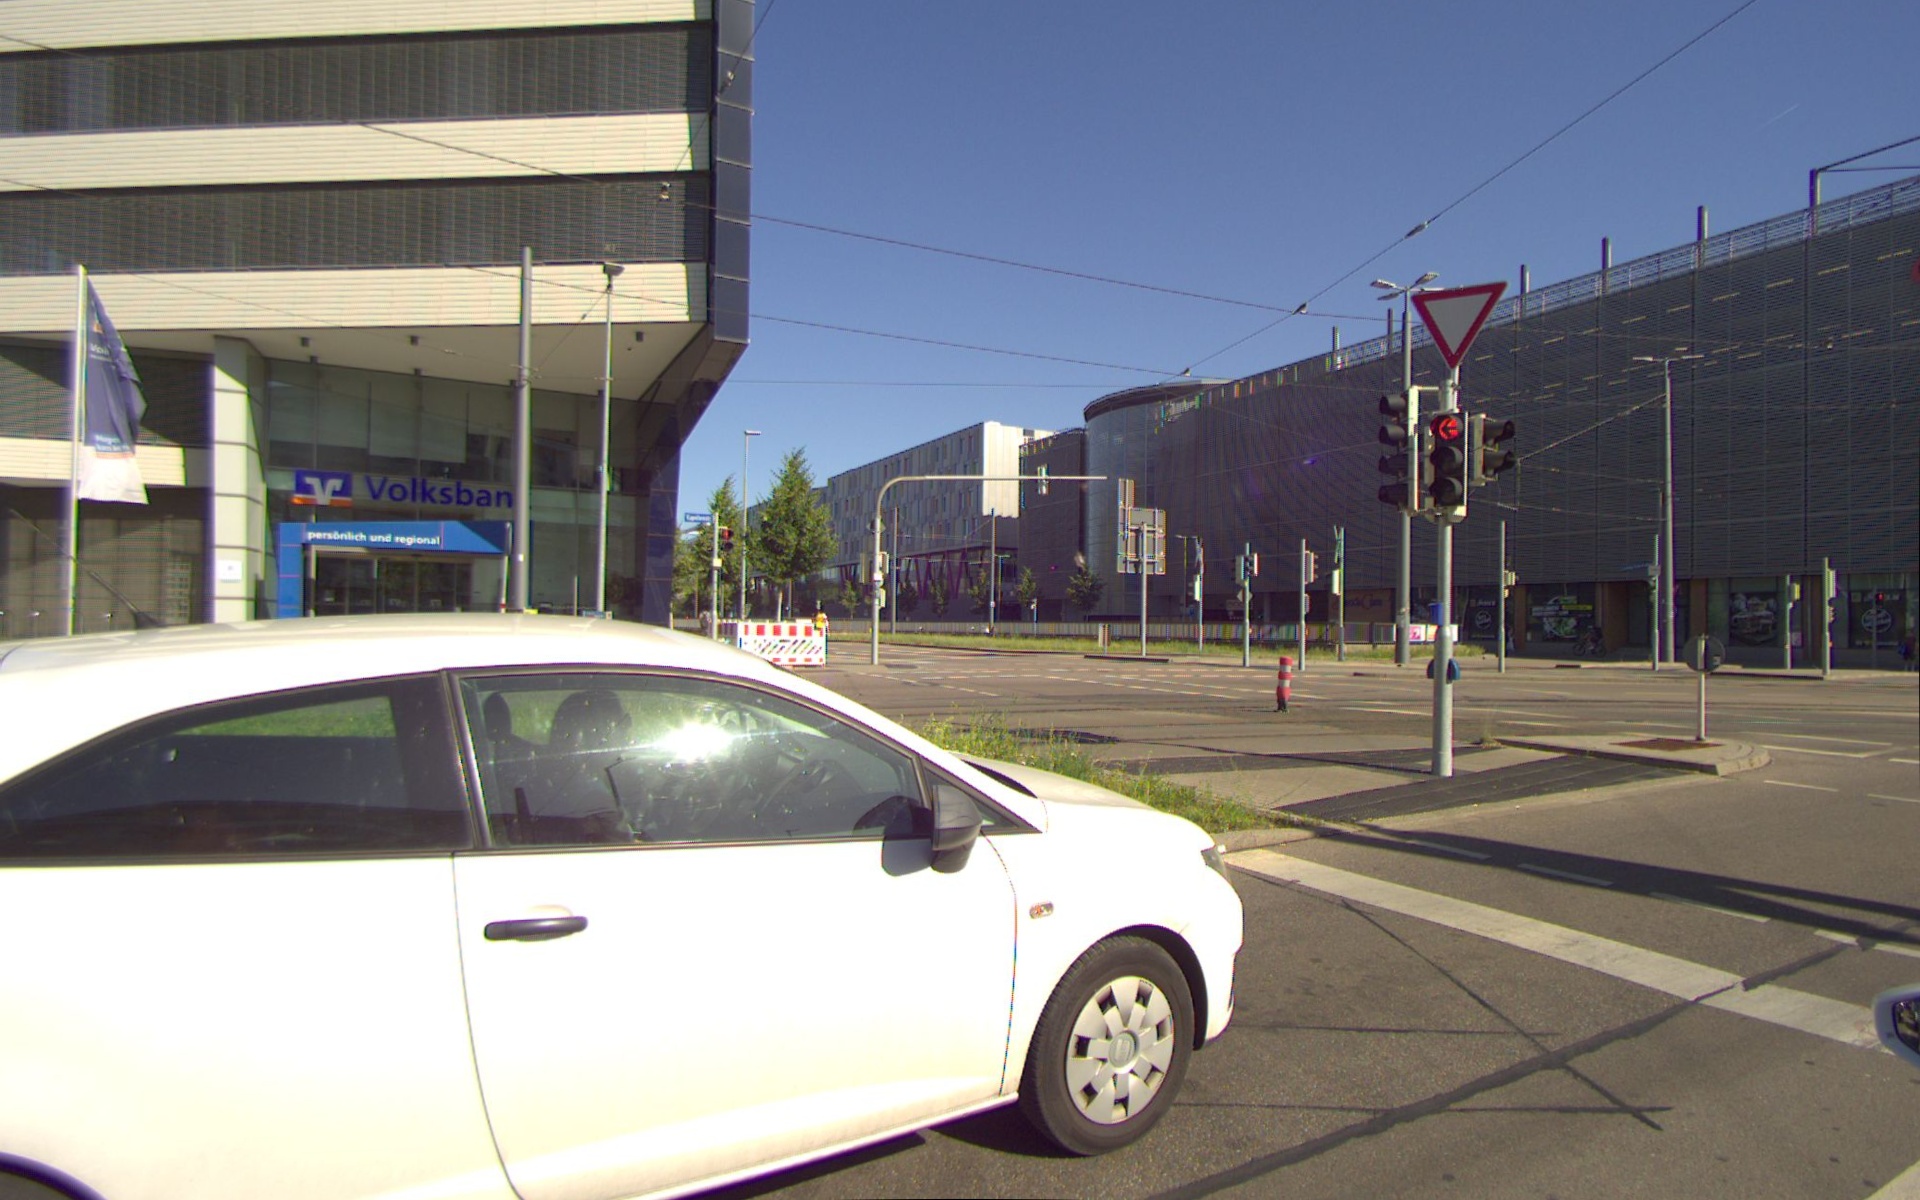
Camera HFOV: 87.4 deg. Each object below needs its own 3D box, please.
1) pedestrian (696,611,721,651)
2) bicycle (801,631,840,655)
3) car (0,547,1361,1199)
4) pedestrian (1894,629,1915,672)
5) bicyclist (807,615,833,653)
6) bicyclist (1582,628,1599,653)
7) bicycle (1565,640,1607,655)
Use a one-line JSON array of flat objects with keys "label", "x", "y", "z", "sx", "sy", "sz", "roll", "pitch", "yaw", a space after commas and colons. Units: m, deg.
[{"label": "pedestrian", "x": -9.958, "y": 1.213, "z": 39.703, "sx": 0.845, "sy": 1.576, "sz": 0.610, "roll": 1, "pitch": -1, "yaw": -24}, {"label": "bicycle", "x": -5.382, "y": 1.644, "z": 38.590, "sx": 0.760, "sy": 0.851, "sz": 2.552, "roll": 1, "pitch": -1, "yaw": -25}, {"label": "car", "x": -0.854, "y": 0.656, "z": 2.807, "sx": 3.791, "sy": 1.450, "sz": 1.656, "roll": 2, "pitch": 2, "yaw": -30}, {"label": "pedestrian", "x": 40.083, "y": 2.142, "z": 42.639, "sx": 0.616, "sy": 1.774, "sz": 0.586, "roll": 0, "pitch": -1, "yaw": 42}, {"label": "bicyclist", "x": -5.379, "y": 1.291, "z": 38.607, "sx": 0.752, "sy": 1.428, "sz": 0.767, "roll": 1, "pitch": -1, "yaw": -25}, {"label": "bicyclist", "x": 36.362, "y": 2.313, "z": 57.913, "sx": 0.553, "sy": 1.429, "sz": 0.651, "roll": 1, "pitch": -1, "yaw": -31}, {"label": "bicycle", "x": 36.220, "y": 2.737, "z": 58.148, "sx": 0.553, "sy": 0.822, "sz": 2.005, "roll": 2, "pitch": -1, "yaw": -30}]
